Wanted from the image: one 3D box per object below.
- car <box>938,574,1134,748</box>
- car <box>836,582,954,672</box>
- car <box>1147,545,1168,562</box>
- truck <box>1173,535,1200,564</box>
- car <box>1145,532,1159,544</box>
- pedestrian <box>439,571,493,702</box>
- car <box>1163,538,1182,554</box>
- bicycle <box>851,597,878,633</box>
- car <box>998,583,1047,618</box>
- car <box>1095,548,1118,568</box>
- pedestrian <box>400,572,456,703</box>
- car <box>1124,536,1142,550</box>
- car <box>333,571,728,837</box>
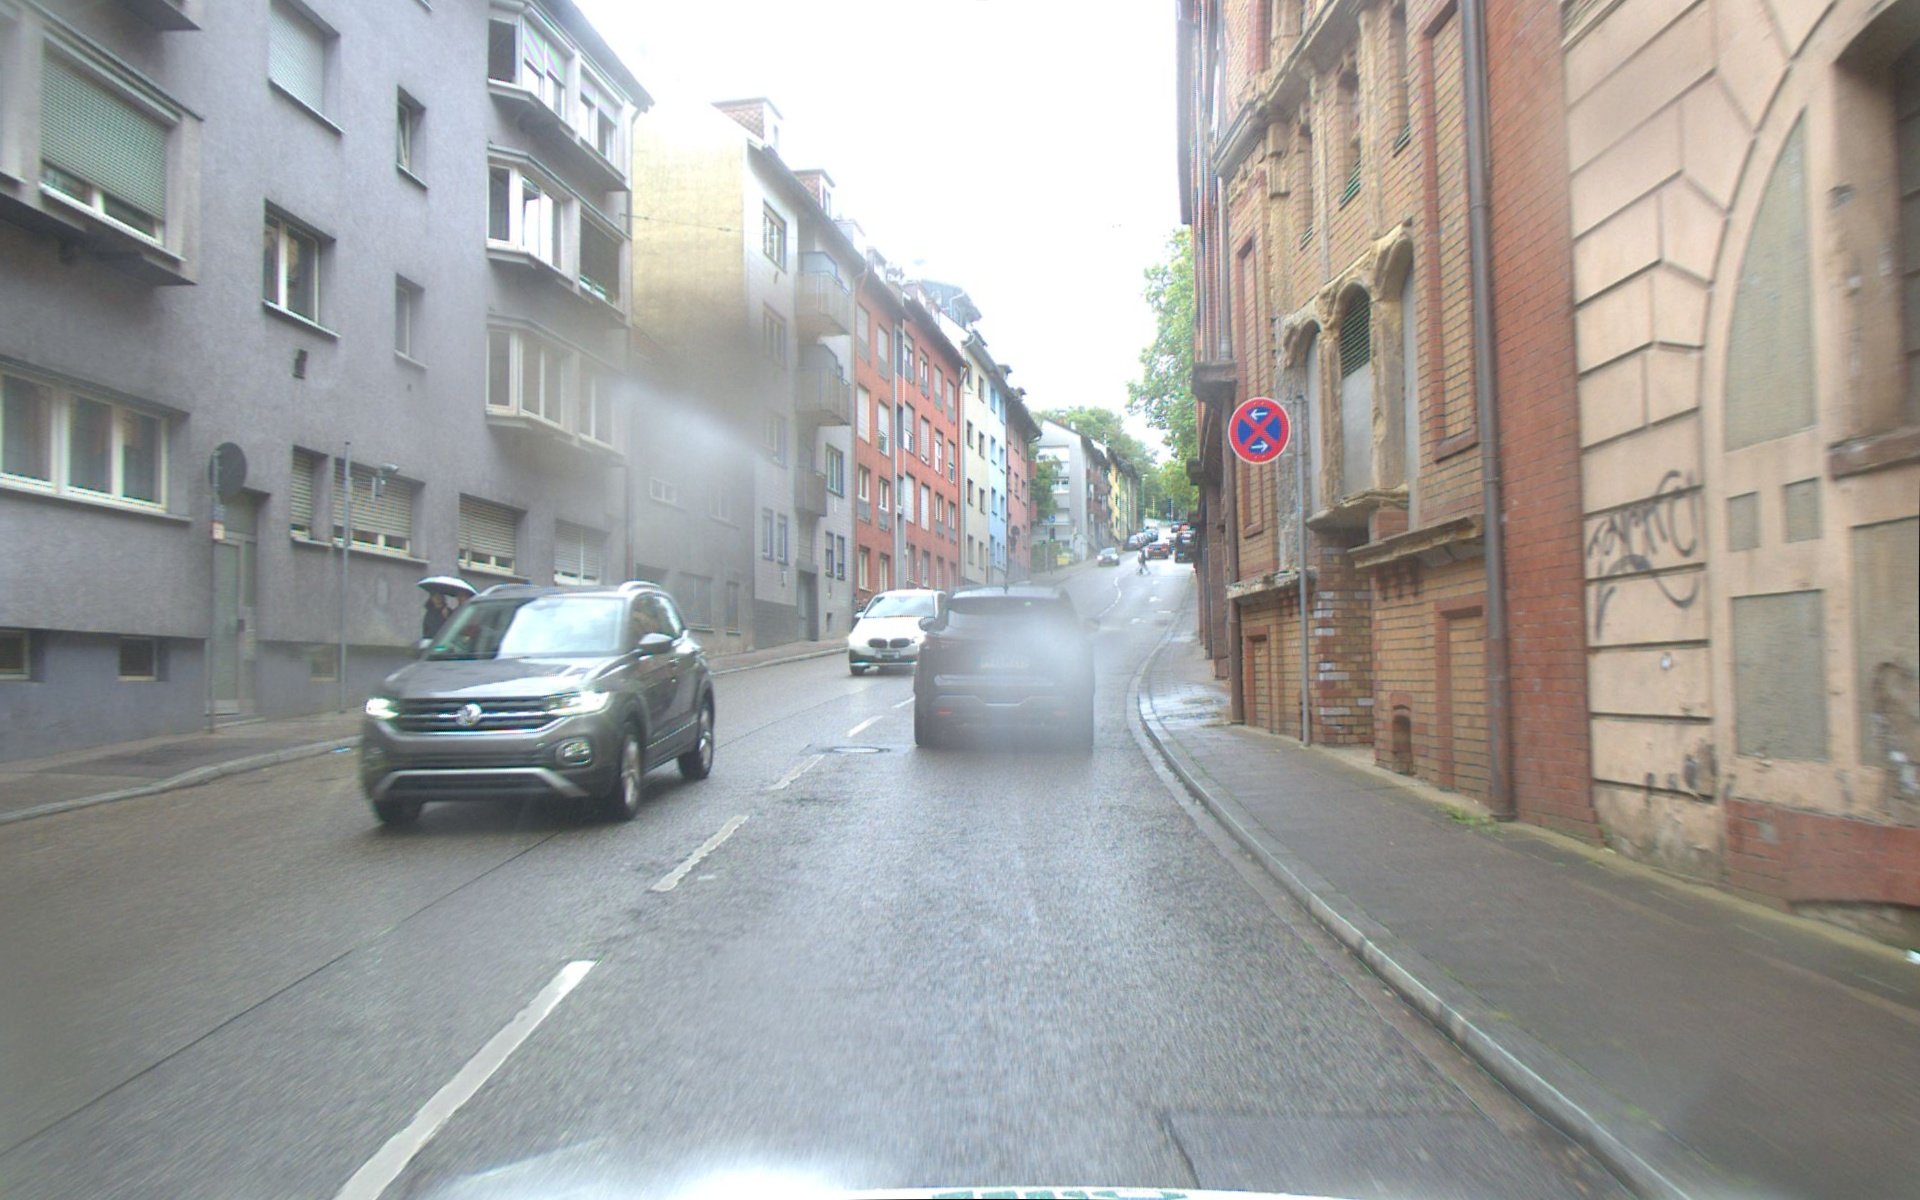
[{"bbox_3d":[0.707,0.552,17.499,1.842,1.621,3.921,0,1,0],"label":"car"},{"bbox_3d":[-1.202,0.493,32.375,1.727,1.604,4.039,-1,0,6],"label":"car"},{"bbox_3d":[18.707,-4.431,156.526,1.756,1.536,4.004,-1,1,9],"label":"car"},{"bbox_3d":[19.729,-4.377,143.881,2.240,2.482,4.457,-1,1,9],"label":"truck"},{"bbox_3d":[27.062,-8.742,233.082,1.756,1.536,4.004,-1,1,9],"label":"car"},{"bbox_3d":[-6.965,0.507,23.339,0.512,1.807,0.622,-1,0,3],"label":"pedestrian"},{"bbox_3d":[22.070,-5.580,171.779,1.756,1.536,4.004,-1,1,9],"label":"car"},{"bbox_3d":[-3.196,0.489,55.336,0.488,1.127,1.802,-1,2,10],"label":"bicycle"},{"bbox_3d":[2.775,0.019,72.796,1.609,1.402,3.854,-2,1,10],"label":"car"},{"bbox_3d":[12.248,-3.511,137.733,1.677,1.473,3.925,-2,2,8],"label":"car"},{"bbox_3d":[-7.513,0.517,23.370,0.512,1.807,0.622,-1,0,3],"label":"pedestrian"},{"bbox_3d":[19.752,-6.456,188.576,1.756,1.536,4.004,-1,1,9],"label":"car"},{"bbox_3d":[-2.923,0.646,12.092,1.727,1.604,3.766,-1,0,2],"label":"car"}]
